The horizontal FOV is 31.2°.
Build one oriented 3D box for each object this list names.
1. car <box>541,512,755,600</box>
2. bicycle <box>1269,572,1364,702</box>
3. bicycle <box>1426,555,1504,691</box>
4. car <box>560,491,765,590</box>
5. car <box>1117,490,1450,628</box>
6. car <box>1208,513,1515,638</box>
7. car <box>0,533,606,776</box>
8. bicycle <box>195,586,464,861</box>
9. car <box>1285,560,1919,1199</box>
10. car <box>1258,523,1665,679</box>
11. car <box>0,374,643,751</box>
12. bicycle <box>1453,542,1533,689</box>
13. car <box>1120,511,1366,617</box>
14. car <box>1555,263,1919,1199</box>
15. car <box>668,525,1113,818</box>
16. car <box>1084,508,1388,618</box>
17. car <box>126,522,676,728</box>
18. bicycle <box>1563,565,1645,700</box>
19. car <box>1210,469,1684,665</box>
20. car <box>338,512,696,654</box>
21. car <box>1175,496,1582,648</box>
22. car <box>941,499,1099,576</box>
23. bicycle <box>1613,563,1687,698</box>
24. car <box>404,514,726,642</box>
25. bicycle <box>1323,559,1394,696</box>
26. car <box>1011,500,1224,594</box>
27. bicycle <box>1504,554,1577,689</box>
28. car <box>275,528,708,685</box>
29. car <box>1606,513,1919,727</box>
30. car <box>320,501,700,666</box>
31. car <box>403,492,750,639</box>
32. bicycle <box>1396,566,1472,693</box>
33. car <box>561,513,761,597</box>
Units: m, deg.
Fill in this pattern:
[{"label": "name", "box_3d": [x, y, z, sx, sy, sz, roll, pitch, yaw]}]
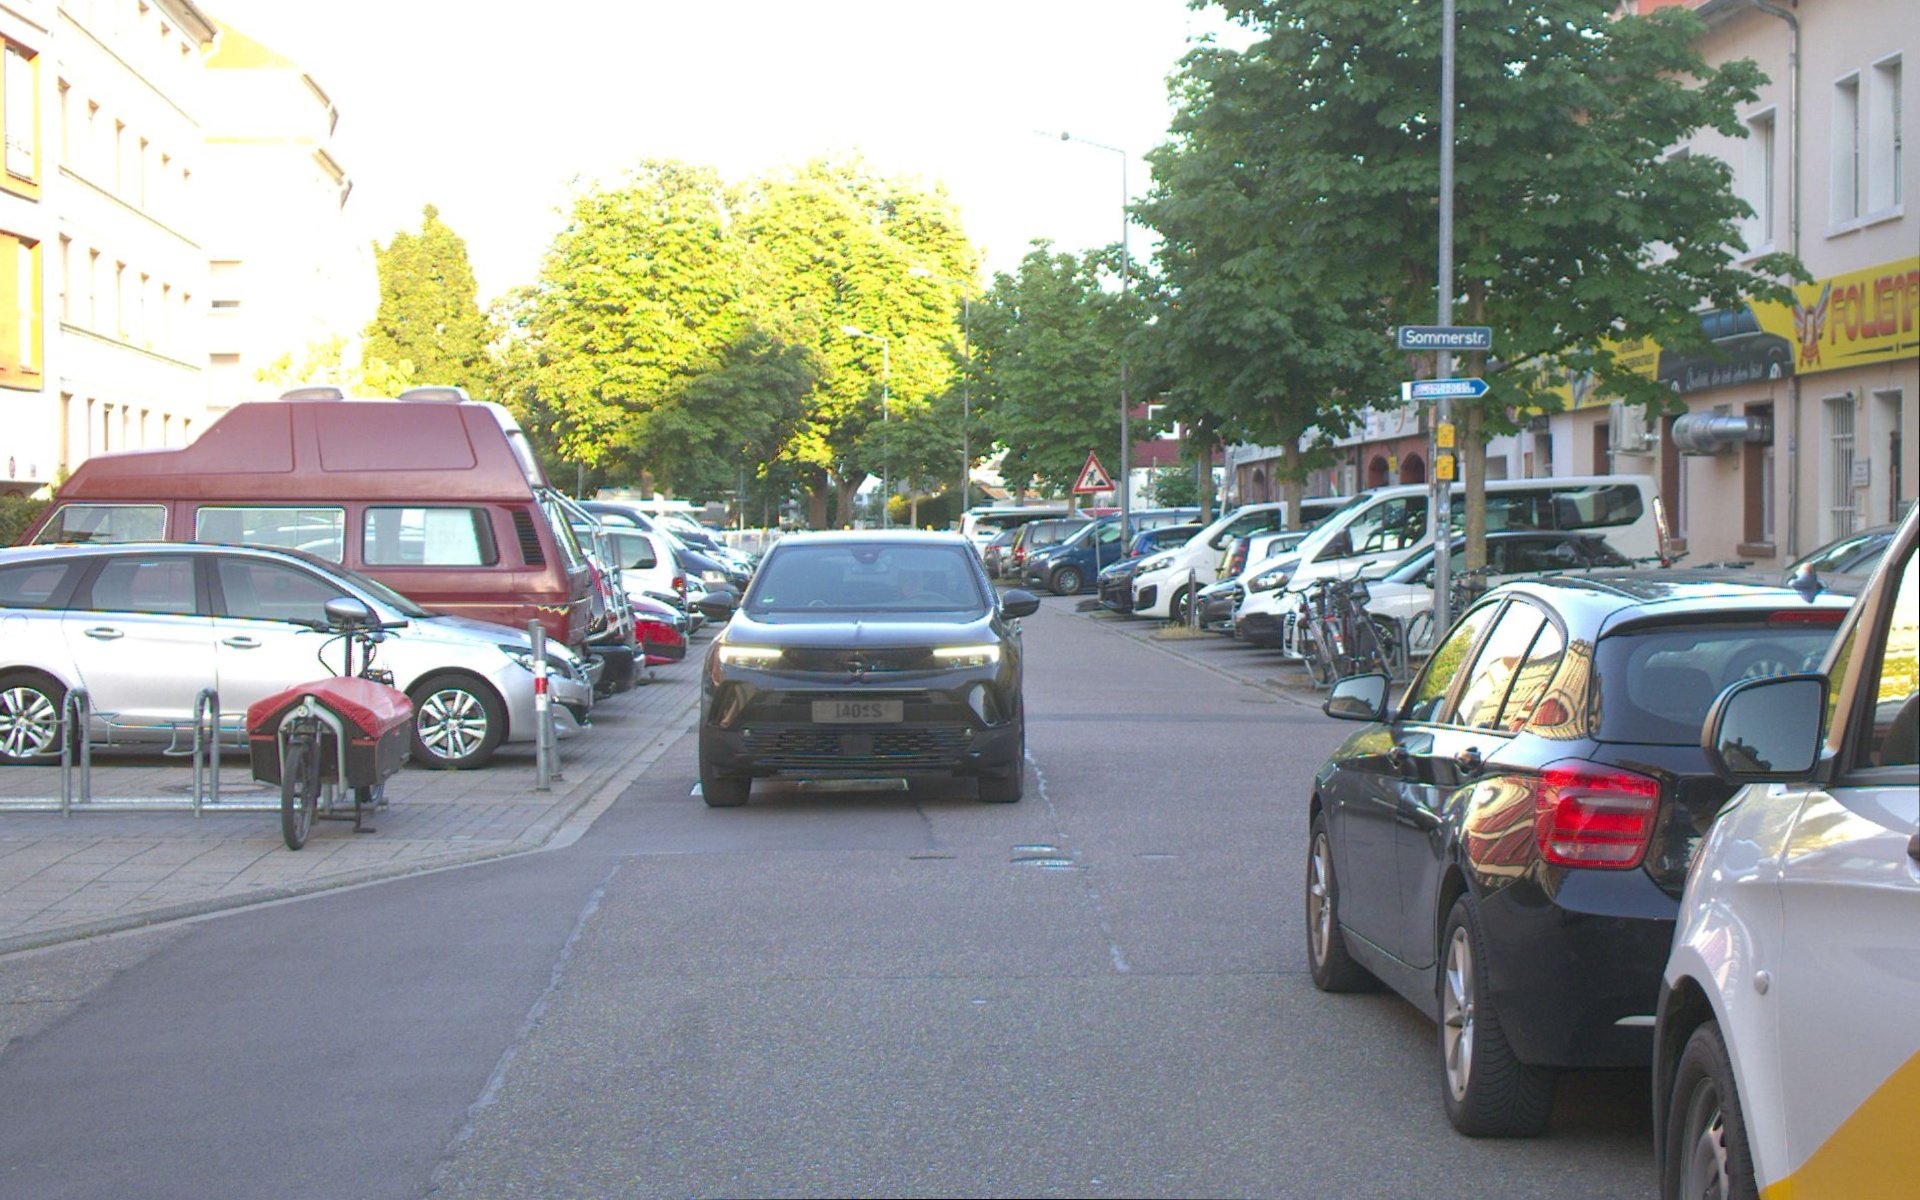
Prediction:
[{"label": "car", "box_3d": [-6.448, -0.920, 71.448, 4.256, 1.709, 2.000, 1, 1, -1]}, {"label": "bicycle", "box_3d": [3.292, 0.321, 31.868, 0.438, 1.126, 2.018, -1, 1, -6]}, {"label": "bicycle", "box_3d": [4.701, 0.198, 32.080, 0.386, 1.196, 2.017, -1, 1, -1]}, {"label": "car", "box_3d": [-6.793, -1.373, 78.848, 4.533, 2.127, 2.000, 1, 1, -1]}, {"label": "car", "box_3d": [5.062, -0.657, 54.281, 4.943, 1.951, 2.049, -2, 1, -2]}, {"label": "car", "box_3d": [5.445, -0.350, 46.981, 3.911, 1.521, 1.939, -2, 1, 0]}, {"label": "car", "box_3d": [-4.708, 0.329, 22.817, 4.615, 1.455, 1.881, 1, 1, -4]}, {"label": "bicycle", "box_3d": [-3.160, 0.574, 17.535, 0.808, 1.217, 2.865, 1, 1, 0]}, {"label": "car", "box_3d": [2.046, 0.639, 9.783, 1.721, 1.419, 4.254, 1, 1, -1]}, {"label": "car", "box_3d": [5.240, -0.011, 36.219, 3.918, 1.446, 1.769, -2, 1, -3]}, {"label": "car", "box_3d": [-4.722, -0.292, 25.383, 4.511, 2.575, 2.000, 1, 1, 1]}, {"label": "bicycle", "box_3d": [4.962, 0.125, 32.090, 0.386, 1.300, 2.017, -1, 1, -1]}, {"label": "car", "box_3d": [5.239, -0.683, 64.014, 4.316, 1.798, 1.811, -2, 1, -2]}, {"label": "car", "box_3d": [2.199, 0.512, 4.280, 1.893, 1.877, 5.083, 0, 1, -2]}, {"label": "car", "box_3d": [-0.290, 0.343, 20.165, 1.780, 1.512, 3.998, -1, 1, 11]}, {"label": "car", "box_3d": [4.707, -0.647, 59.103, 4.943, 1.683, 2.077, -2, 1, -2]}, {"label": "car", "box_3d": [-4.471, 0.177, 27.964, 4.208, 1.532, 1.791, 1, 1, -3]}, {"label": "bicycle", "box_3d": [5.967, 0.286, 31.911, 0.445, 1.196, 1.481, -1, 1, -1]}, {"label": "car", "box_3d": [5.454, -0.385, 39.000, 4.990, 1.976, 2.220, -2, 1, 0]}, {"label": "car", "box_3d": [-5.542, -0.231, 43.454, 4.256, 1.654, 2.000, 1, 1, -1]}, {"label": "car", "box_3d": [5.340, -0.373, 44.346, 4.944, 1.736, 2.049, -2, 1, 0]}, {"label": "car", "box_3d": [1.588, -1.685, 92.146, 3.967, 1.905, 2.050, -2, 1, -5]}, {"label": "bicycle", "box_3d": [6.397, 0.269, 31.904, 0.353, 1.196, 1.481, -1, 1, -1]}, {"label": "car", "box_3d": [-5.445, -0.321, 47.810, 4.256, 1.646, 1.888, 1, 1, -1]}, {"label": "bicycle", "box_3d": [3.705, 0.236, 32.055, 0.386, 1.196, 2.017, -1, 1, -1]}, {"label": "car", "box_3d": [3.497, -1.197, 76.701, 4.478, 1.905, 1.688, -2, 1, -5]}, {"label": "bicycle", "box_3d": [5.386, 0.188, 31.937, 0.386, 1.196, 1.481, -1, 1, -1]}, {"label": "car", "box_3d": [-4.793, 0.048, 35.570, 4.209, 1.484, 1.850, 1, 1, 0]}, {"label": "car", "box_3d": [7.249, 0.111, 26.876, 4.050, 1.509, 1.756, -1, 3, 0]}, {"label": "car", "box_3d": [-5.310, -0.212, 40.983, 4.256, 1.830, 2.000, 1, 1, -1]}, {"label": "car", "box_3d": [-5.568, -0.520, 50.361, 4.850, 2.014, 1.907, 1, 1, -1]}, {"label": "bicycle", "box_3d": [4.416, 0.259, 32.093, 0.386, 1.110, 2.017, -1, 1, -1]}, {"label": "car", "box_3d": [-6.597, -1.004, 76.219, 4.256, 1.743, 2.000, 1, 1, -1]}]
